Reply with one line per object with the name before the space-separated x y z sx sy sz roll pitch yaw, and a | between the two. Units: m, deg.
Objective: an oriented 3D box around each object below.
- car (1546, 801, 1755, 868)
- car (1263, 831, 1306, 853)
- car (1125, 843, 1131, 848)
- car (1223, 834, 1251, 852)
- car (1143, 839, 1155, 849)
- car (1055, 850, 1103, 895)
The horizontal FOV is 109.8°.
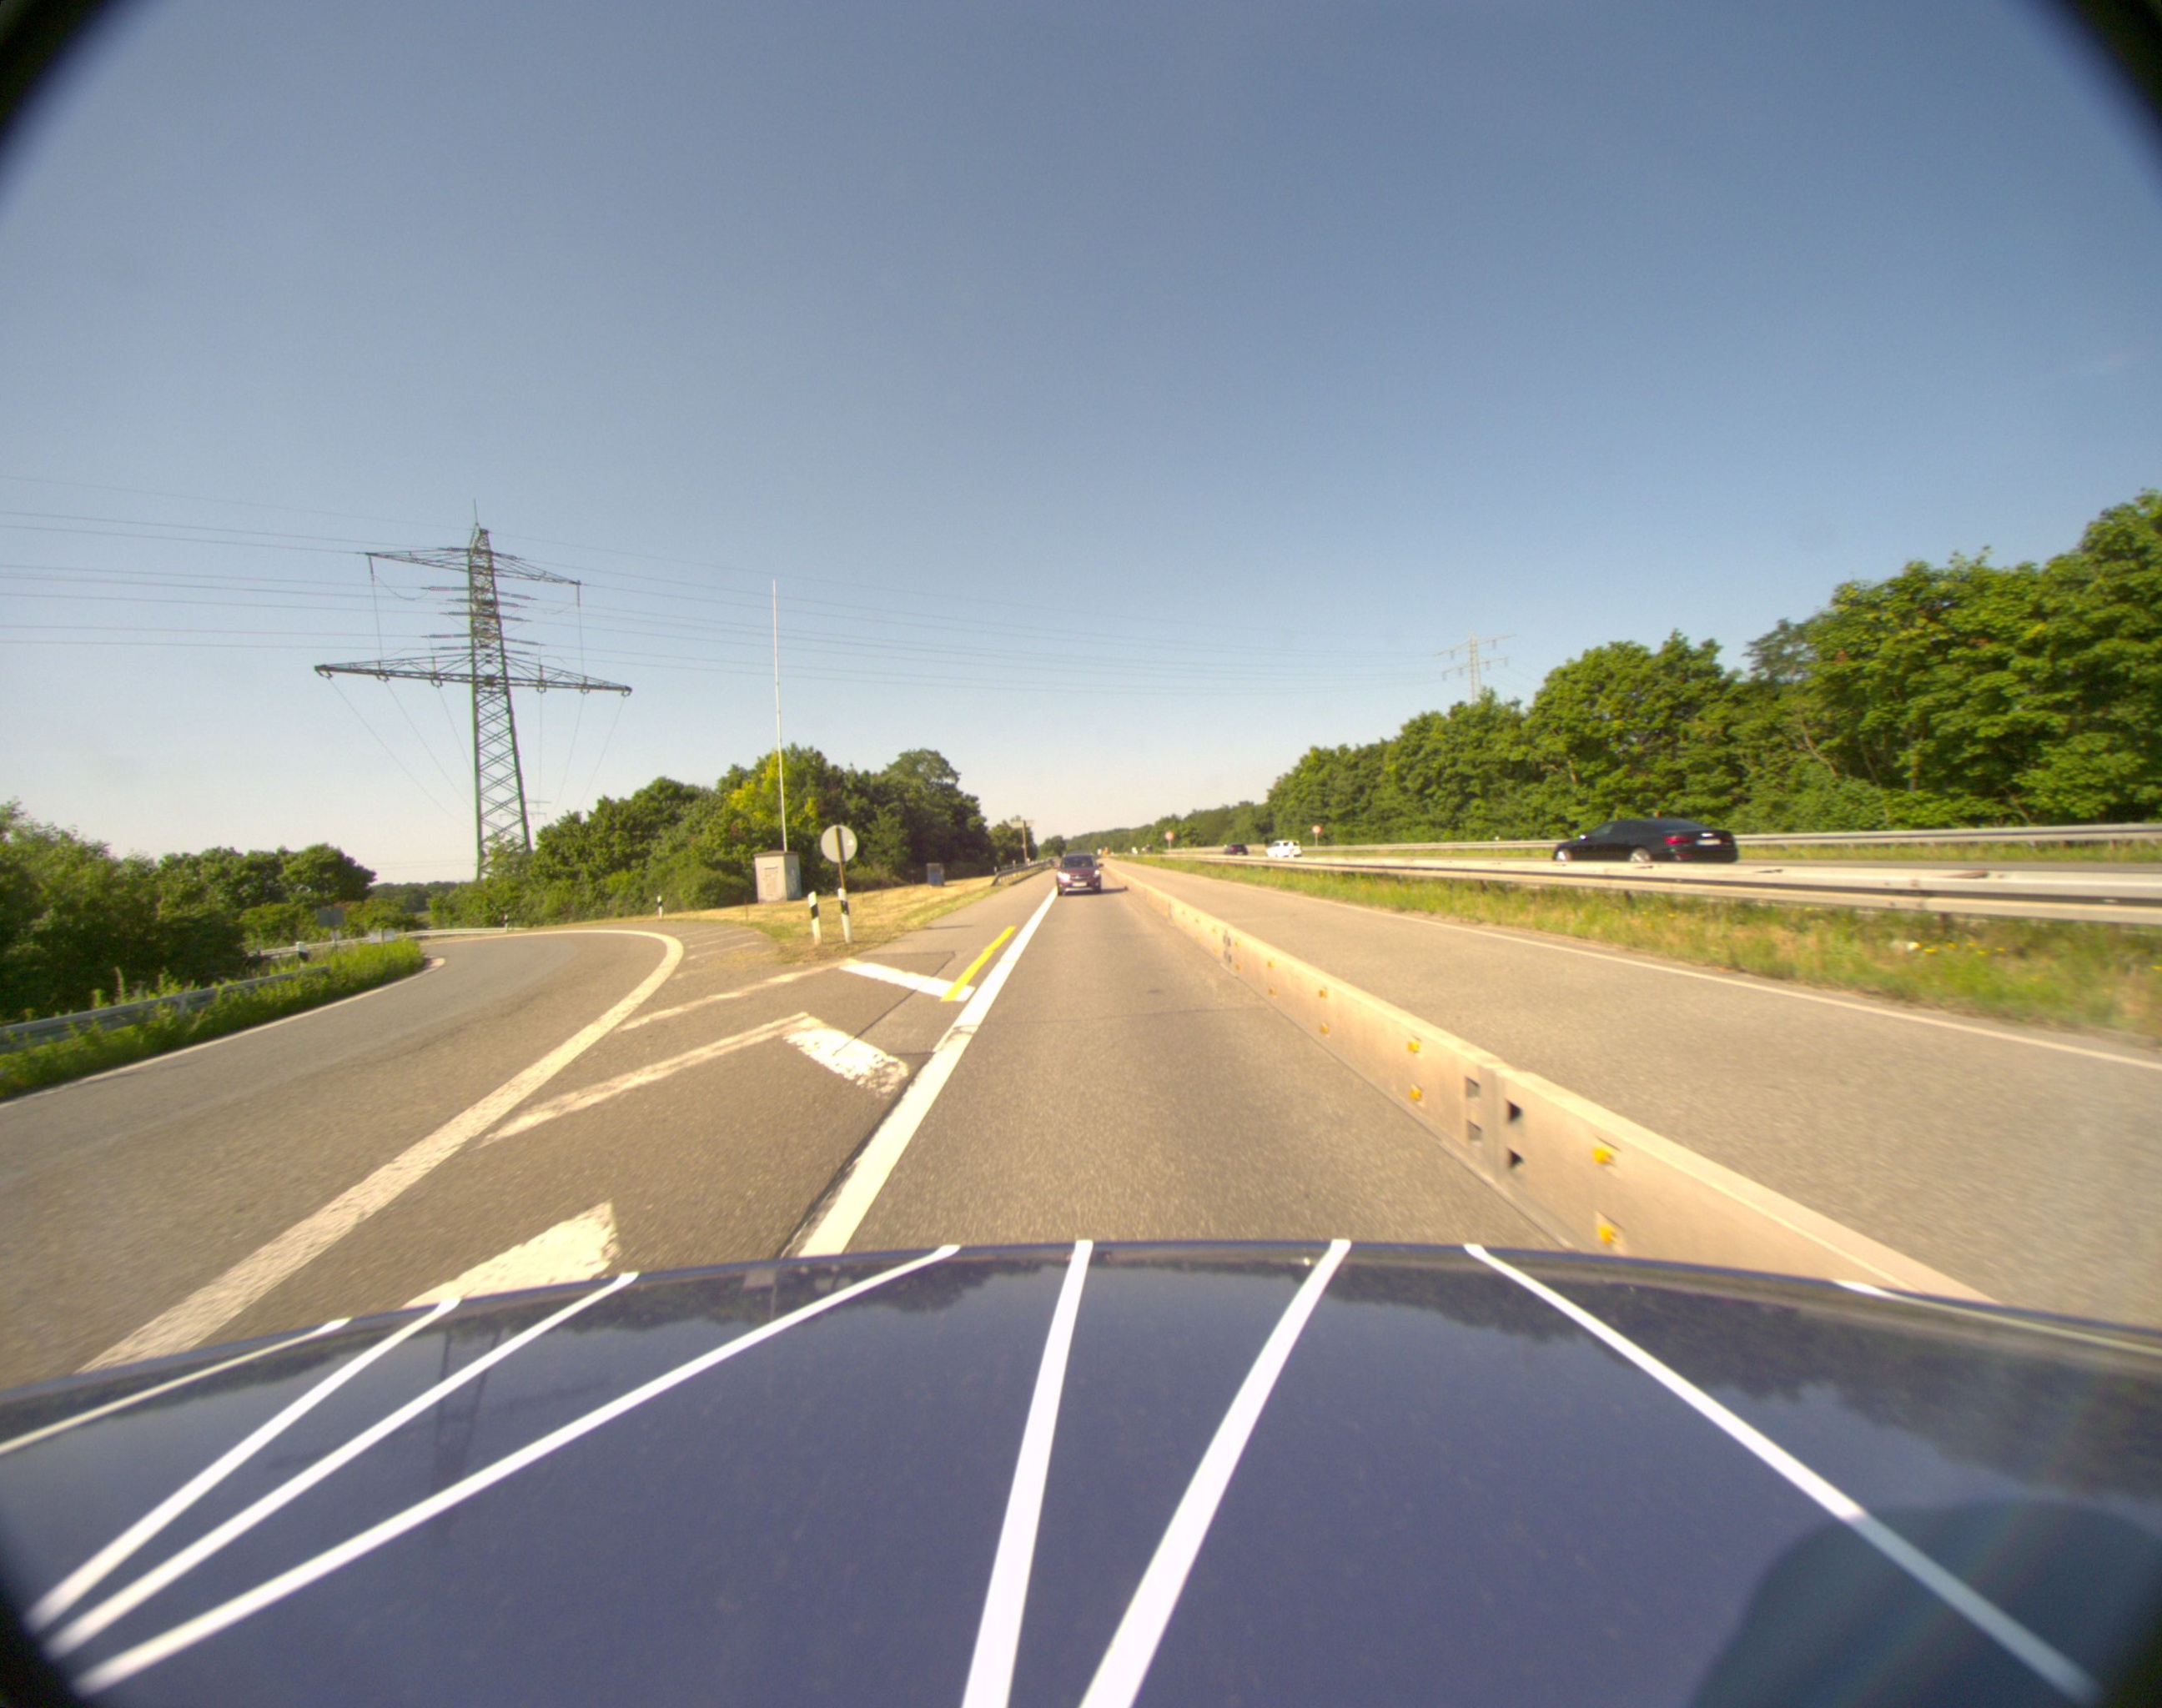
car | 14.695 -0.484 20.062 1.820 1.479 5.022 -2 1 1
car | 15.071 -0.869 56.451 1.764 1.462 4.793 -5 1 0
car | 15.501 -2.930 251.137 1.767 1.574 4.422 -4 1 1
car | 15.055 -1.051 73.475 1.743 1.485 4.109 -4 1 0
car | 15.098 -2.256 168.378 1.999 2.023 5.167 -4 1 -2
car | -0.011 0.670 28.837 1.587 1.491 4.416 -3 0 2
